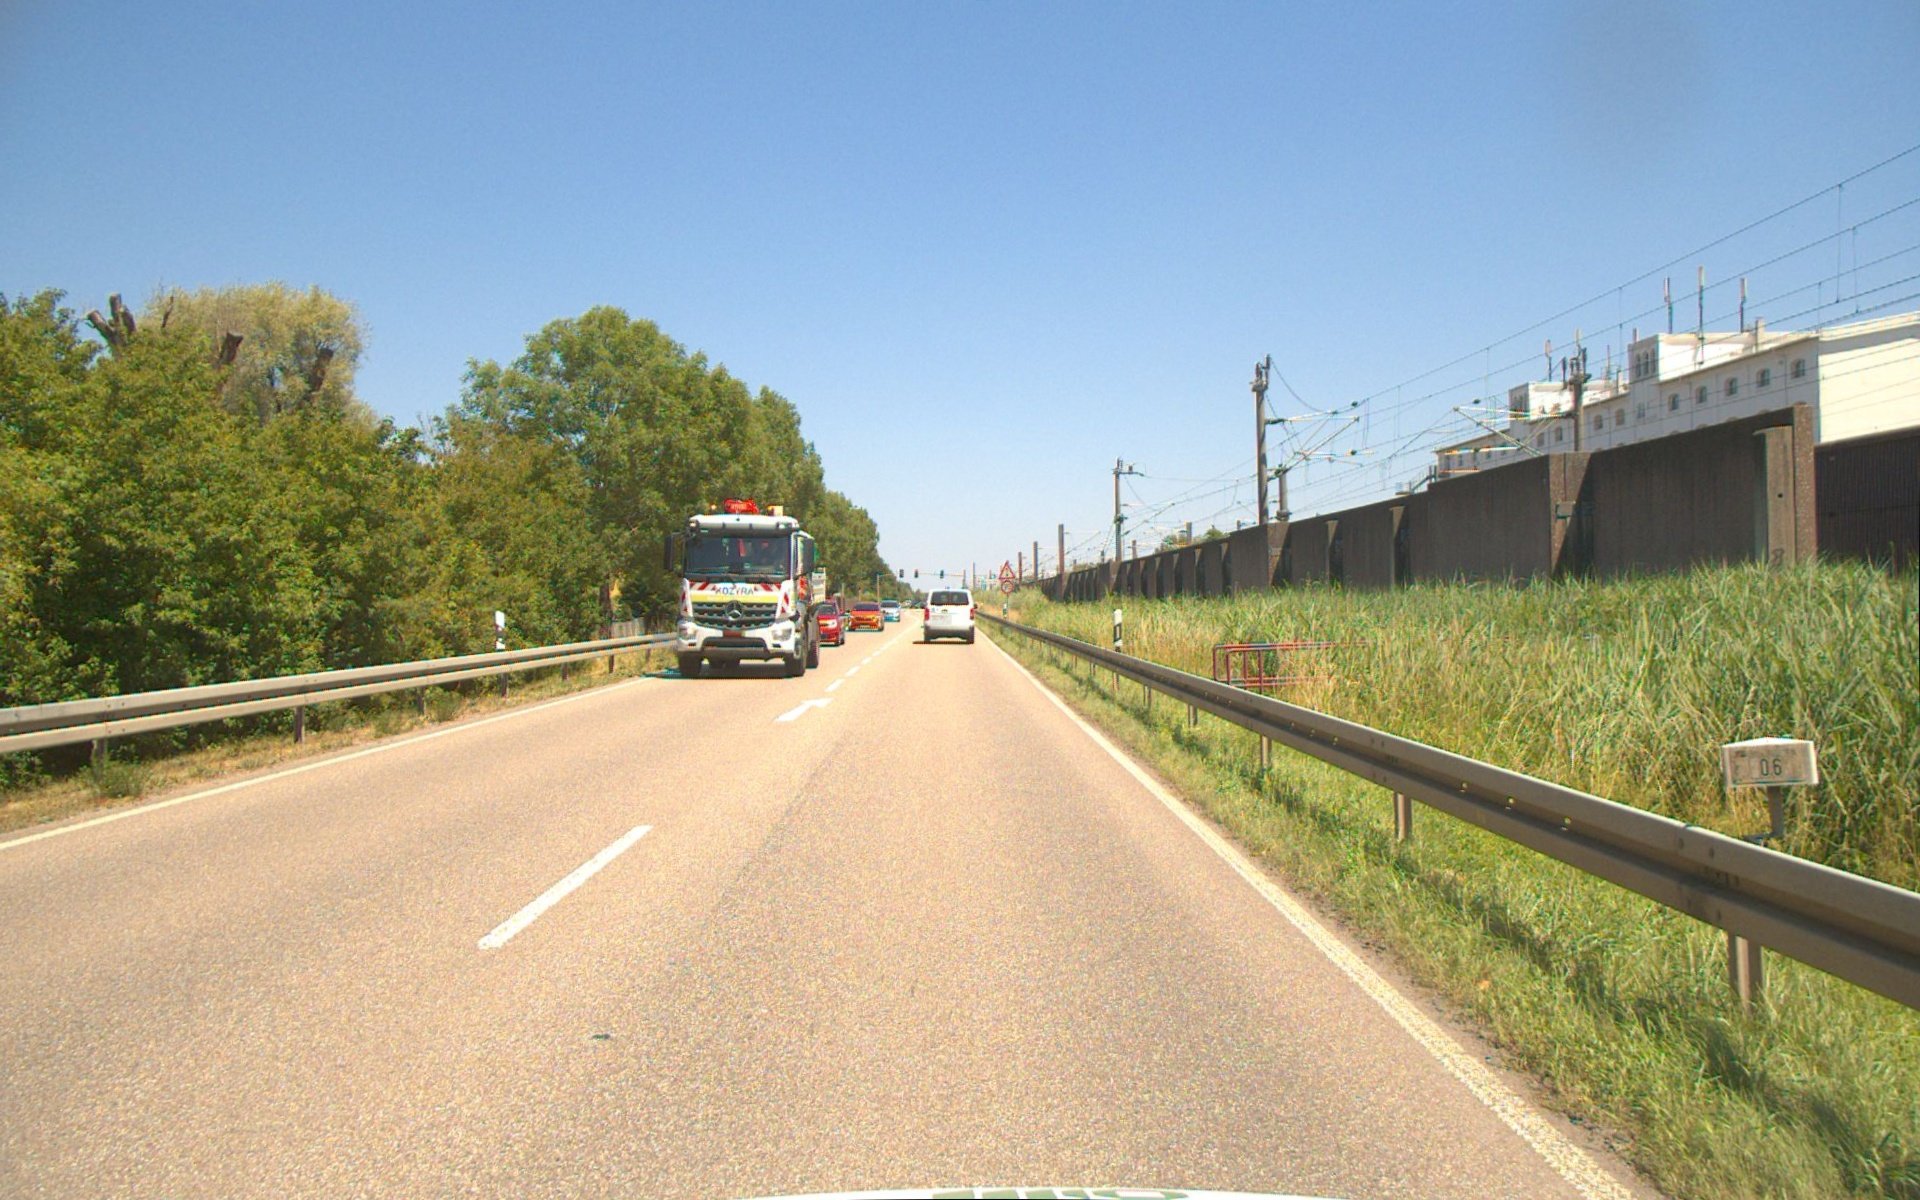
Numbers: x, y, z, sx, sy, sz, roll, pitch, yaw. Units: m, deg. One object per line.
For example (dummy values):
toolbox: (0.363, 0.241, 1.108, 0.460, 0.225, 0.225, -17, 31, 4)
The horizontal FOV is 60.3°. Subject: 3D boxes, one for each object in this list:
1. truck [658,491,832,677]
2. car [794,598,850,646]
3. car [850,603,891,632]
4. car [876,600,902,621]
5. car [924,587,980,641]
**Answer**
truck: (-4.375, -0.308, 35.256, 2.727, 3.464, 7.987, 1, 0, -1)
car: (-4.660, 0.725, 56.294, 1.619, 1.579, 3.999, 0, 0, -1)
car: (-4.490, 0.864, 83.285, 1.752, 1.446, 4.001, 0, 0, 1)
car: (-5.365, 0.798, 125.209, 1.753, 1.552, 4.390, 0, 0, 0)
car: (-0.302, 0.495, 60.074, 1.953, 1.882, 3.999, 1, 0, -1)
